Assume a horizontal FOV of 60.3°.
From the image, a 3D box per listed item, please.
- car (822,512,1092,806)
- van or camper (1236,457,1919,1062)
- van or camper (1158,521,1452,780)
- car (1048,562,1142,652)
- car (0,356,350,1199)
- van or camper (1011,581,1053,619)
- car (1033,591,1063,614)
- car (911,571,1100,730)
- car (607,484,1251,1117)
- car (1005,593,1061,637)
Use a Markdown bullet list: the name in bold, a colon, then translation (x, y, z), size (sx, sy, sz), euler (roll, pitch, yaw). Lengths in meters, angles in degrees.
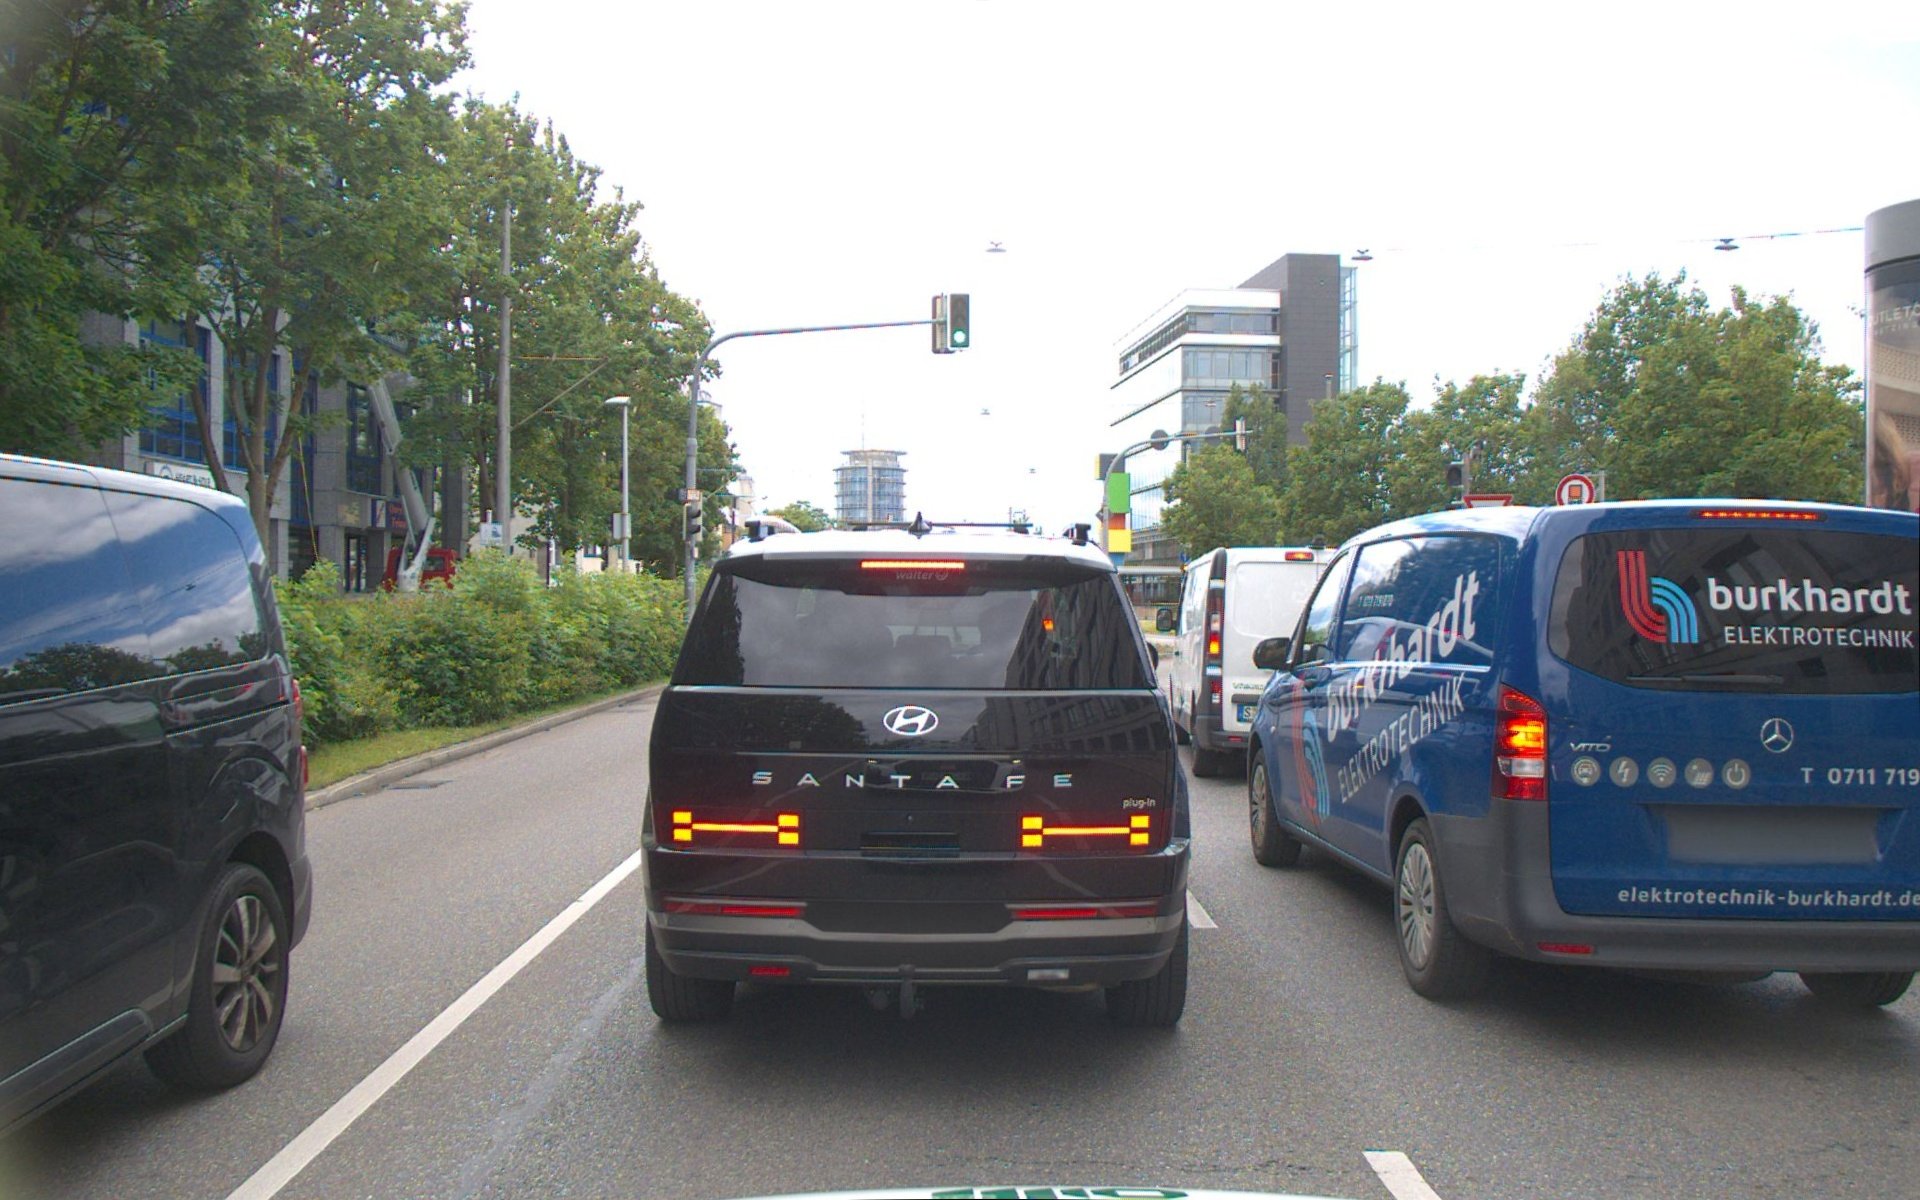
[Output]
- **car**: translation (-0.049, 0.400, 13.436), size (1.876, 2.038, 3.879), euler (0, 0, -1)
- **van or camper**: translation (2.671, 0.502, 7.854), size (1.822, 1.944, 5.031), euler (0, 0, -1)
- **van or camper**: translation (3.045, 0.396, 15.598), size (1.952, 2.049, 4.654), euler (1, 0, 2)
- **car**: translation (3.230, 0.182, 40.204), size (1.952, 2.049, 4.000), euler (1, 0, 0)
- **car**: translation (-3.114, 0.461, 3.468), size (1.953, 1.982, 4.735), euler (-1, 0, -1)
- **van or camper**: translation (5.143, 0.035, 117.317), size (1.951, 2.591, 6.583), euler (1, 0, 12)
- **car**: translation (7.010, 0.209, 131.910), size (1.954, 1.713, 3.997), euler (1, 0, -3)
- **car**: translation (0.684, 0.574, 20.516), size (1.738, 1.747, 4.342), euler (1, 0, 10)
- **car**: translation (-0.110, 0.559, 6.644), size (1.831, 1.791, 3.879), euler (0, 0, -1)
- **car**: translation (2.867, 0.588, 65.572), size (1.953, 1.646, 3.999), euler (1, 0, -1)
